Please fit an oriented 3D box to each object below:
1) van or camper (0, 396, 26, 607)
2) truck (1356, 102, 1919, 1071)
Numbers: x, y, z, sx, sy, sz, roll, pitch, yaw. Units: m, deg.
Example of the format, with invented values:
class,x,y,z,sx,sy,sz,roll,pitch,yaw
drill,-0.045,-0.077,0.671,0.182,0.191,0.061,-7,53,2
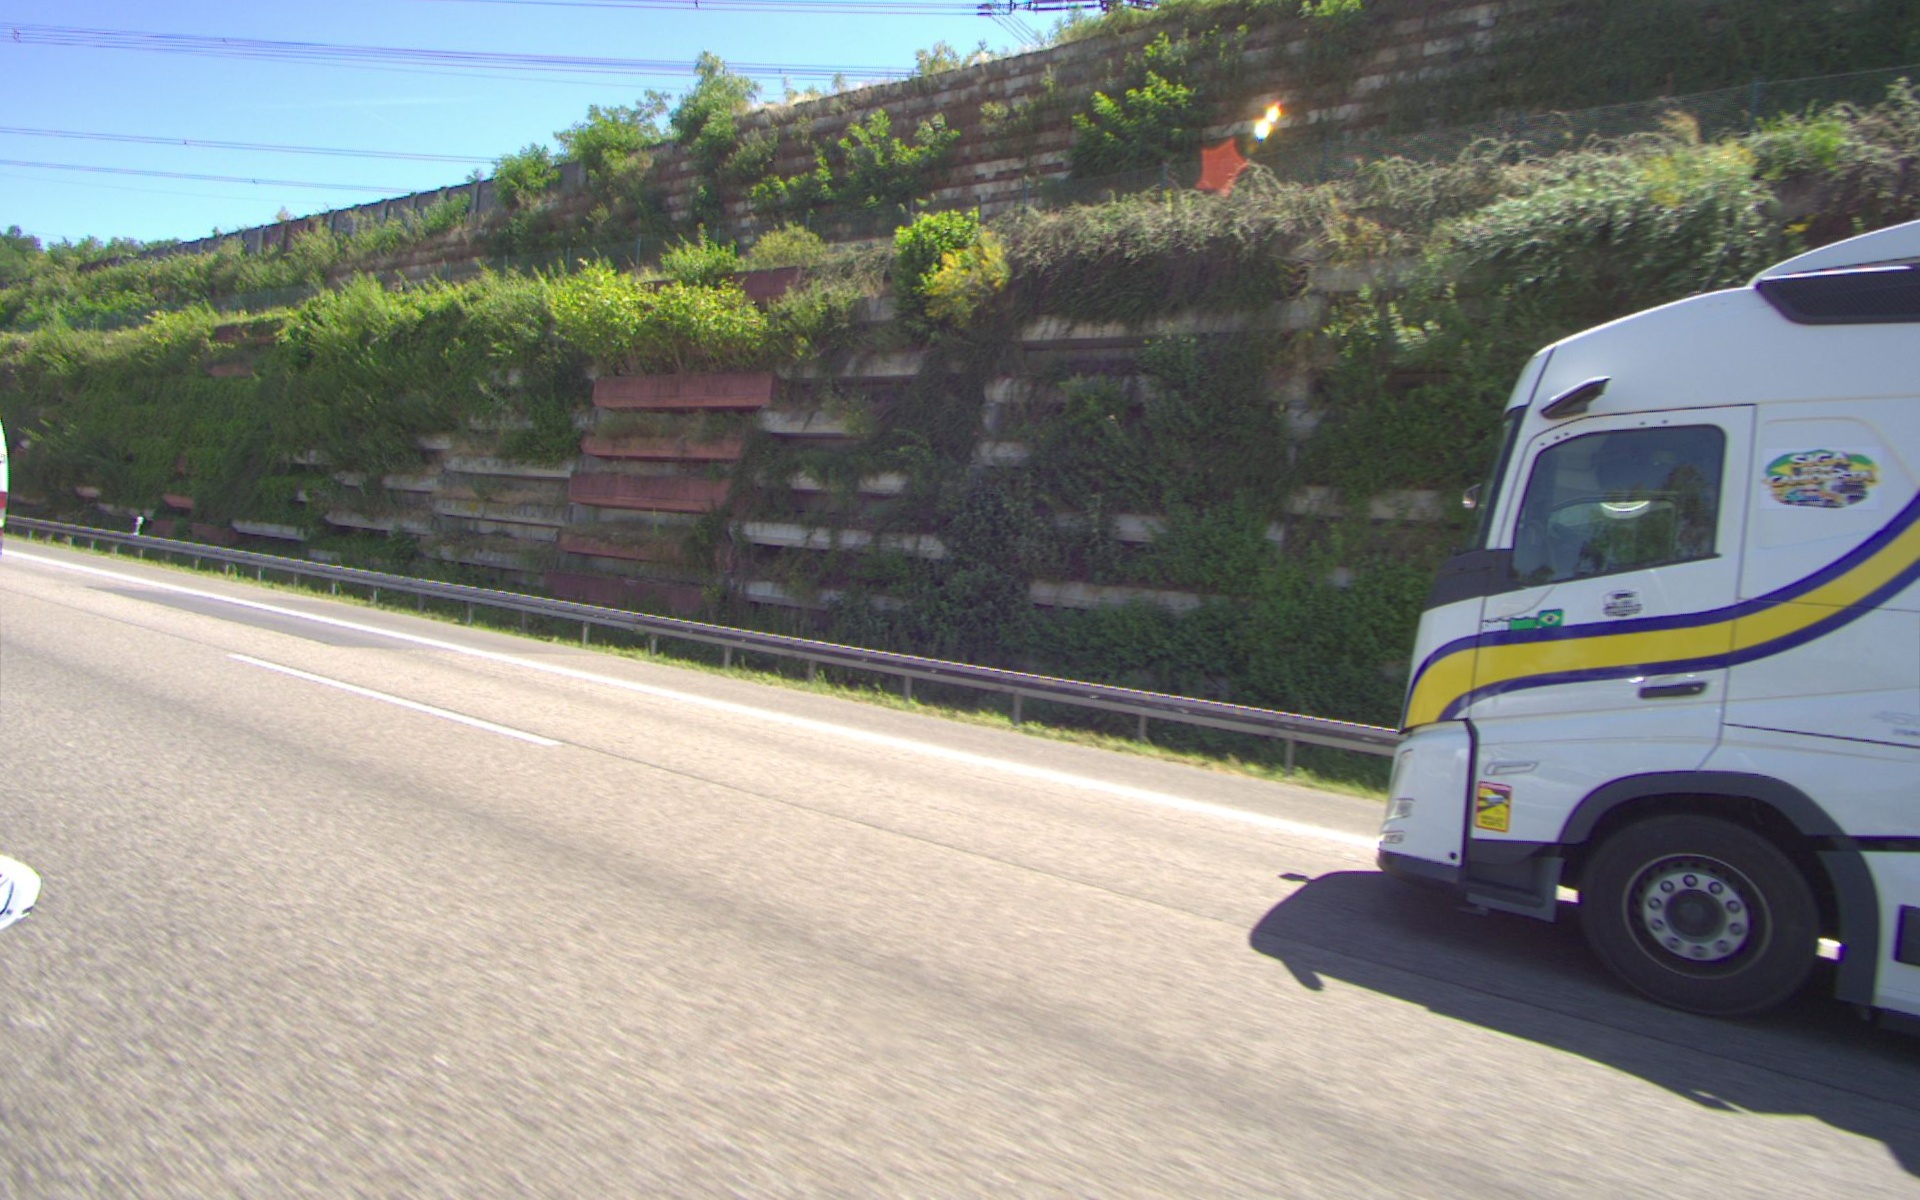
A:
class,x,y,z,sx,sy,sz,roll,pitch,yaw
van or camper,-16.086,-1.691,14.437,6.645,2.803,2.099,7,0,32
truck,5.677,0.075,5.022,6.153,4.273,2.509,6,1,32
